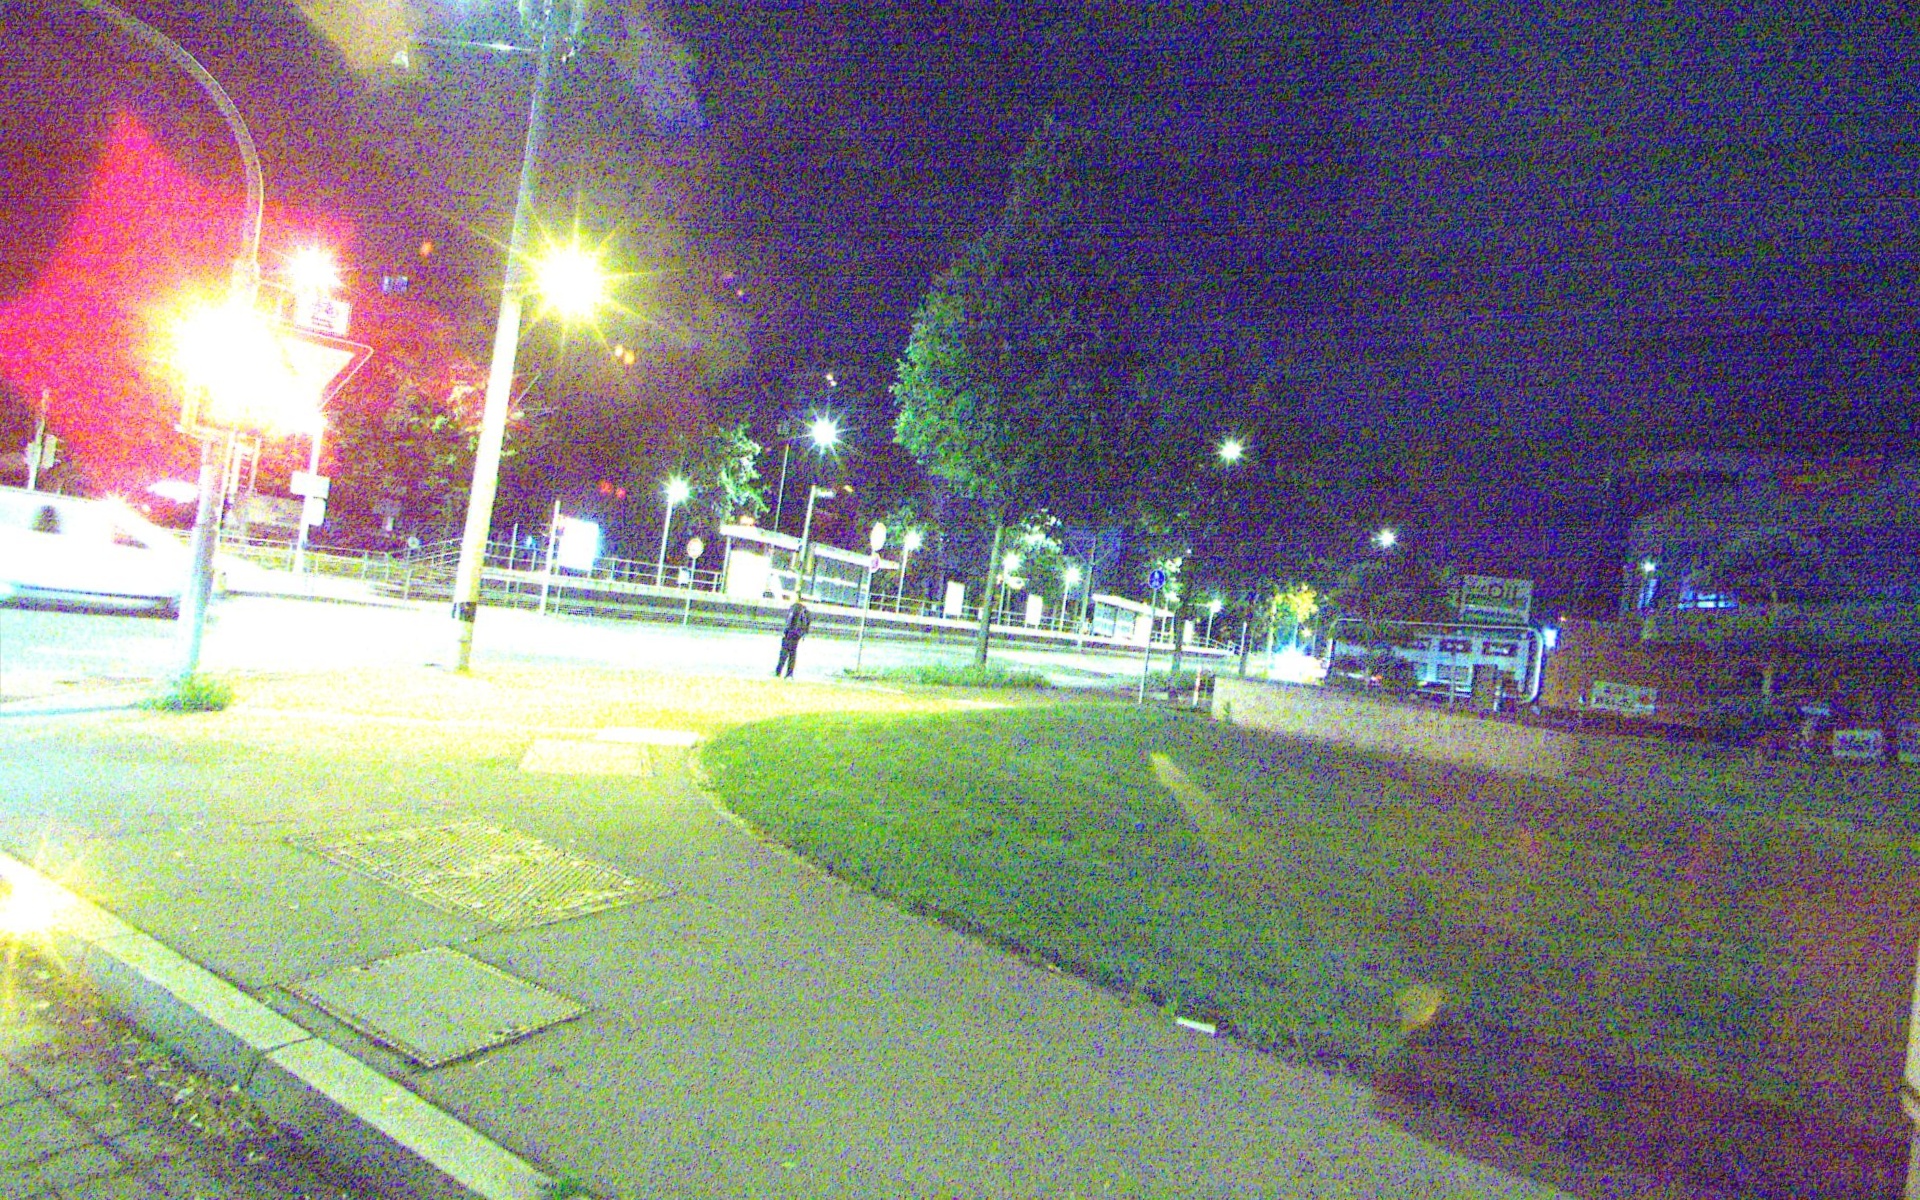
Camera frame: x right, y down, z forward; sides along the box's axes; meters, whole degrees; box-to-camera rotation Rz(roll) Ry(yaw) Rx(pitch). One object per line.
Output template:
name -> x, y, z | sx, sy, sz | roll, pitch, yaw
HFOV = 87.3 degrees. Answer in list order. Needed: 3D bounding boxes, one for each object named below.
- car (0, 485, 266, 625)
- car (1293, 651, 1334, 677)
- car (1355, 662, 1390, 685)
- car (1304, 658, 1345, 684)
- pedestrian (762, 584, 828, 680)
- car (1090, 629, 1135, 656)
car -> -13.394, -0.716, 15.202 | 1.845, 1.703, 4.286 | 8, 0, 34
car -> 28.006, 5.069, 79.684 | 1.784, 1.584, 4.514 | 10, 0, 35
car -> 34.030, 6.069, 82.902 | 1.833, 1.510, 4.477 | 8, 0, 31
car -> 25.414, 4.960, 70.065 | 1.660, 1.525, 3.833 | 9, 0, 34
pedestrian -> -3.192, 0.626, 19.484 | 0.820, 1.767, 0.755 | 6, 1, 31
car -> 12.822, 3.580, 84.596 | 1.970, 2.039, 3.985 | 6, 0, 36
